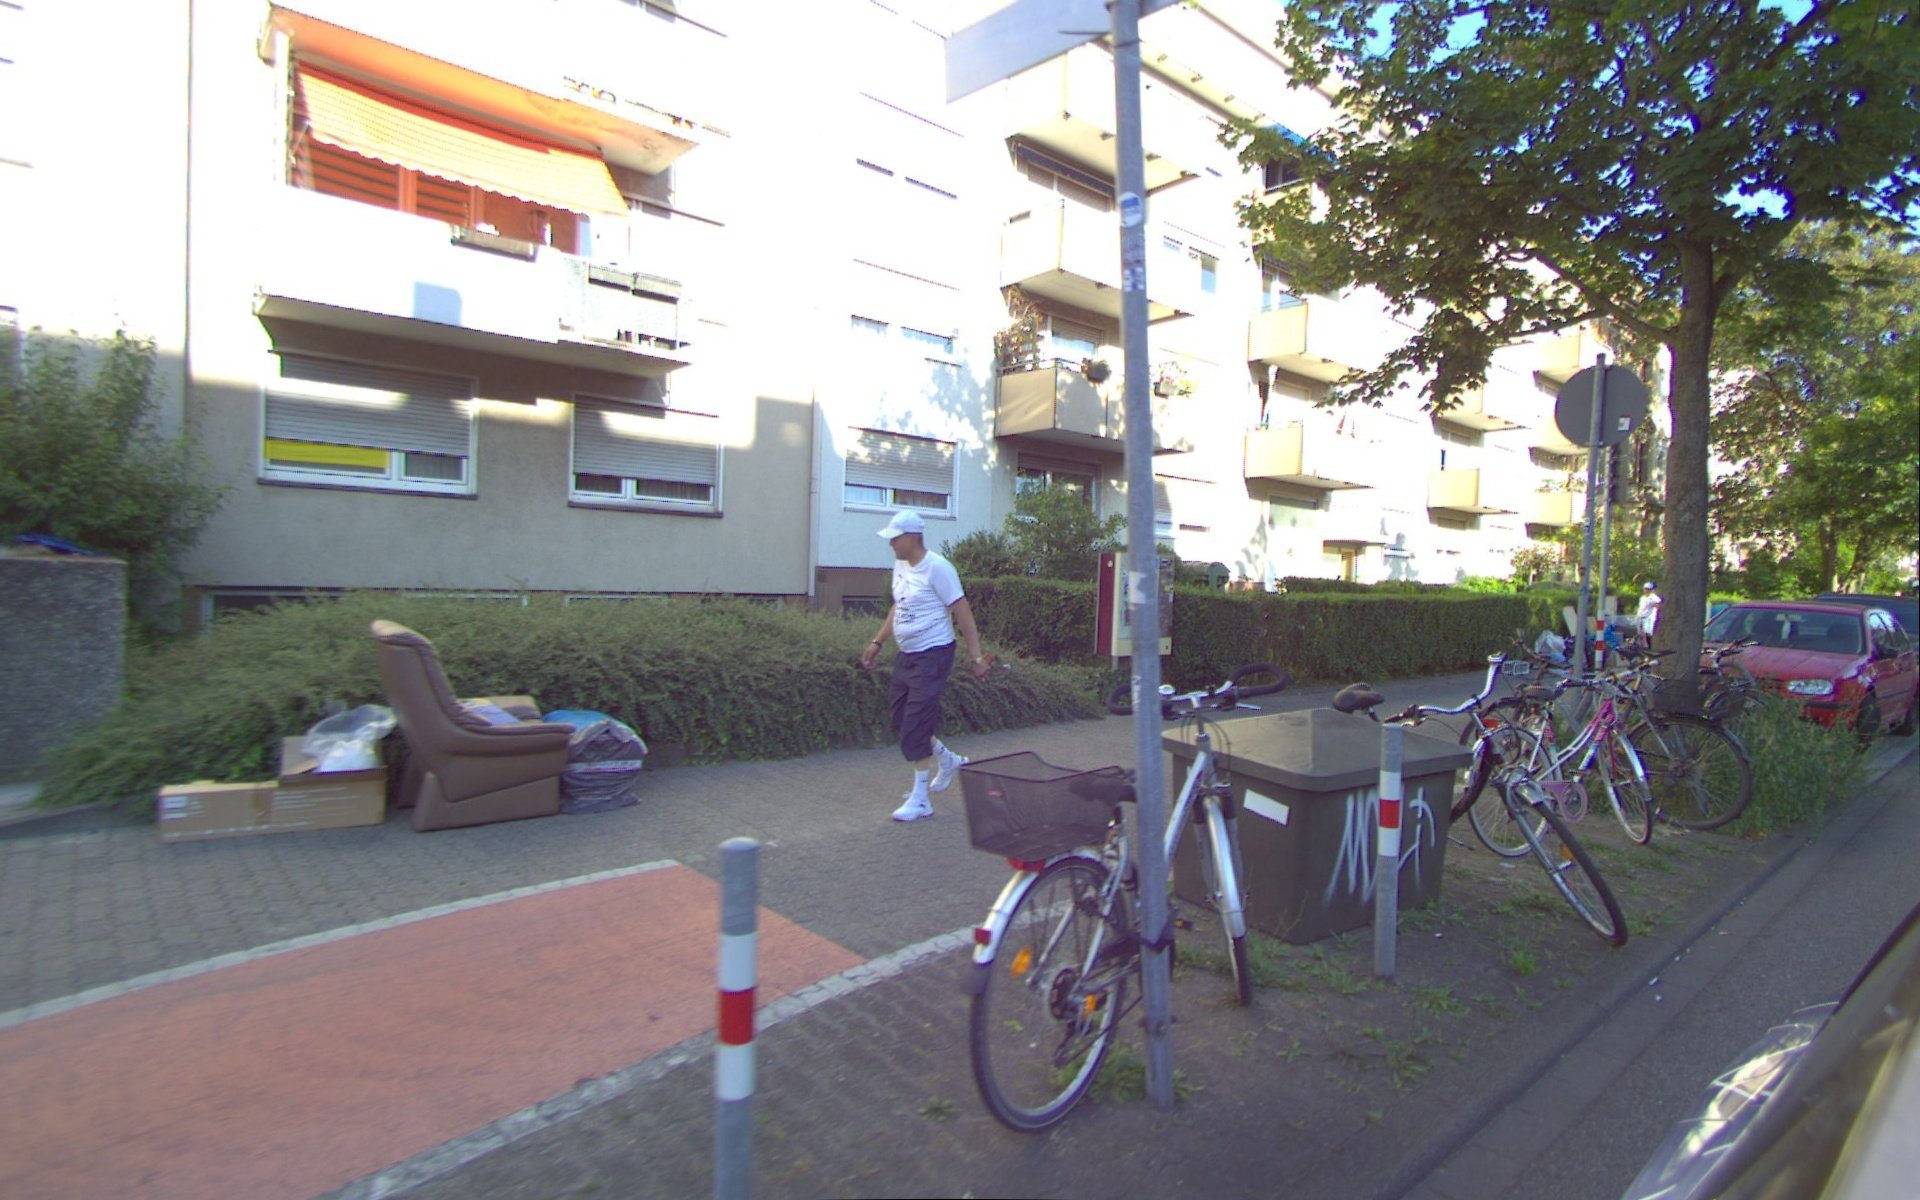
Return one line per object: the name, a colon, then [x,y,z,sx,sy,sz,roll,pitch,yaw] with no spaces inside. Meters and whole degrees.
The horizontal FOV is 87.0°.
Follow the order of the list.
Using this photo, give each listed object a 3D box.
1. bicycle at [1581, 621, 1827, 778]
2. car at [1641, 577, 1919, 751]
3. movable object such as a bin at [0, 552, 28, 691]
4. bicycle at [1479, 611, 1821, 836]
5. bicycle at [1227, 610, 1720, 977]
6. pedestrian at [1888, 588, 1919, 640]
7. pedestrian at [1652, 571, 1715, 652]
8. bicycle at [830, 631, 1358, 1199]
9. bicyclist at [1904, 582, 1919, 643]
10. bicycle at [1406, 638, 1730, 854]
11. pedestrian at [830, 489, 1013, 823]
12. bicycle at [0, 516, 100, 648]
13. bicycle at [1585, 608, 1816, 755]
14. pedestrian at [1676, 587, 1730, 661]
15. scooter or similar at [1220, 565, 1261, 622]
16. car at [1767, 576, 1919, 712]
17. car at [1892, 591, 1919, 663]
bicycle: [6.216,0.781,8.535,0.492,1.117,1.574,0,2,-40]
car: [9.097,0.564,10.875,3.939,1.467,1.709,0,3,-37]
movable object such as a bin: [-8.048,0.159,8.236,0.643,1.100,0.743,0,2,-40]
bicycle: [4.362,0.707,6.541,0.507,1.120,1.694,1,4,-34]
bicycle: [2.191,0.713,4.604,0.670,1.171,1.842,1,4,-34]
pedestrian: [33.543,0.495,35.913,0.821,1.796,1.072,2,2,45]
pedestrian: [15.188,0.236,21.270,0.742,1.660,0.697,1,1,-5]
bicycle: [0.536,0.732,3.043,0.502,1.161,1.929,6,5,43]
bicyclist: [28.721,0.375,30.256,0.837,1.811,0.582,0,1,-41]
bicycle: [3.381,0.770,5.661,1.540,1.064,0.622,1,1,-15]
pedestrian: [-0.231,0.281,5.836,0.757,1.770,0.665,0,3,-35]
bicycle: [-9.008,-0.171,9.225,1.765,1.197,0.356,0,2,-41]
bicycle: [6.493,0.671,8.946,0.385,1.117,1.574,0,2,-40]
pedestrian: [16.314,0.519,22.234,0.682,1.559,0.594,1,1,-4]
scooter or similar: [6.505,-0.156,23.460,0.657,1.288,0.616,0,2,-41]
car: [12.936,0.534,14.165,3.944,1.600,1.859,0,4,-42]
car: [22.361,0.618,22.677,4.195,1.498,1.712,0,4,-42]
